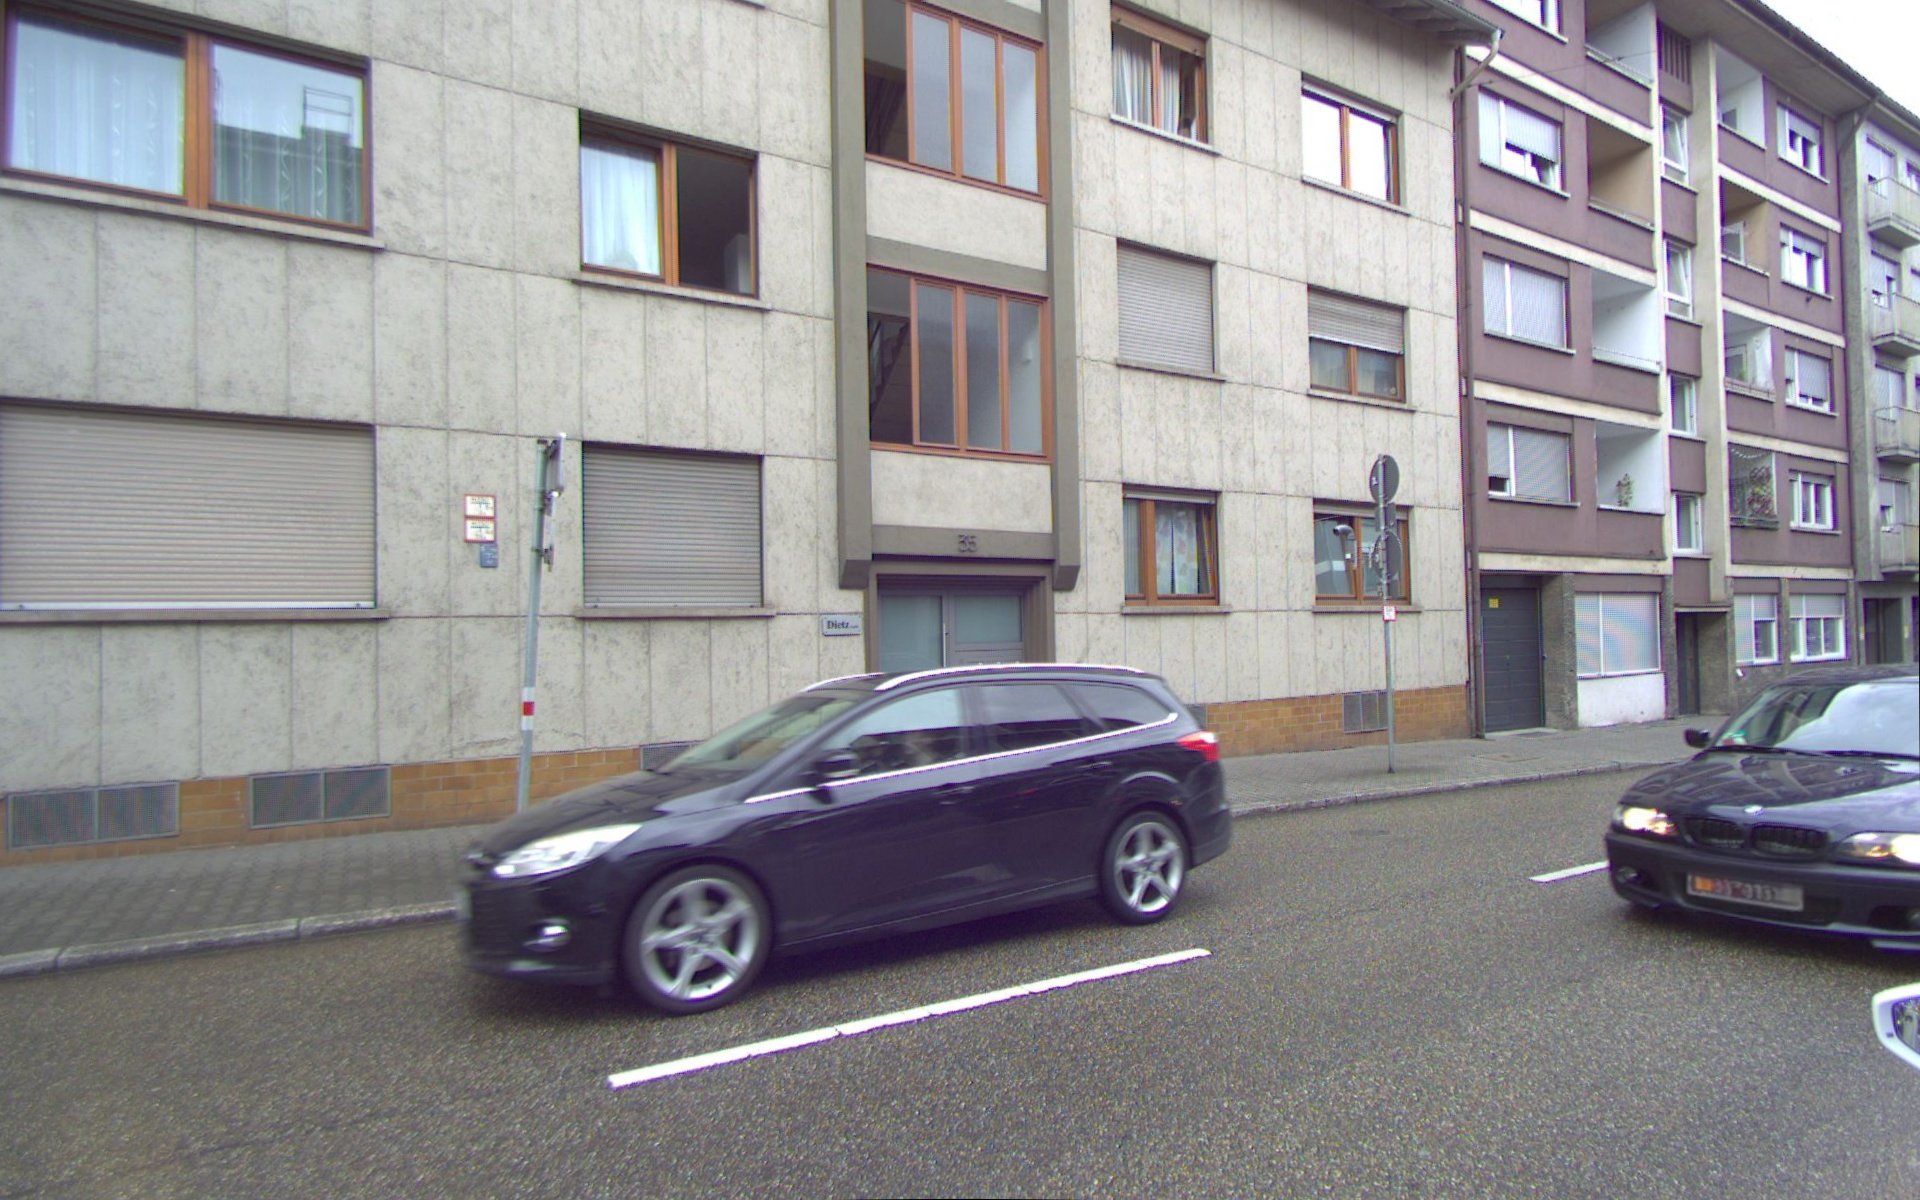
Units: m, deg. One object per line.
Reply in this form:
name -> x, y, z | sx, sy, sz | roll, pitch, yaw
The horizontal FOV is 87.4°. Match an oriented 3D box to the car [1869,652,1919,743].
car -> 16.577, 1.527, 16.187 | 4.318, 1.388, 1.686 | 2, -5, -32

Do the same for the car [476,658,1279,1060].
car -> -0.324, 1.128, 5.812 | 4.325, 1.492, 1.714 | 1, -4, -32

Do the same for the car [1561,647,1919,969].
car -> 5.639, 1.016, 5.988 | 4.168, 1.388, 1.688 | 2, -5, -30
